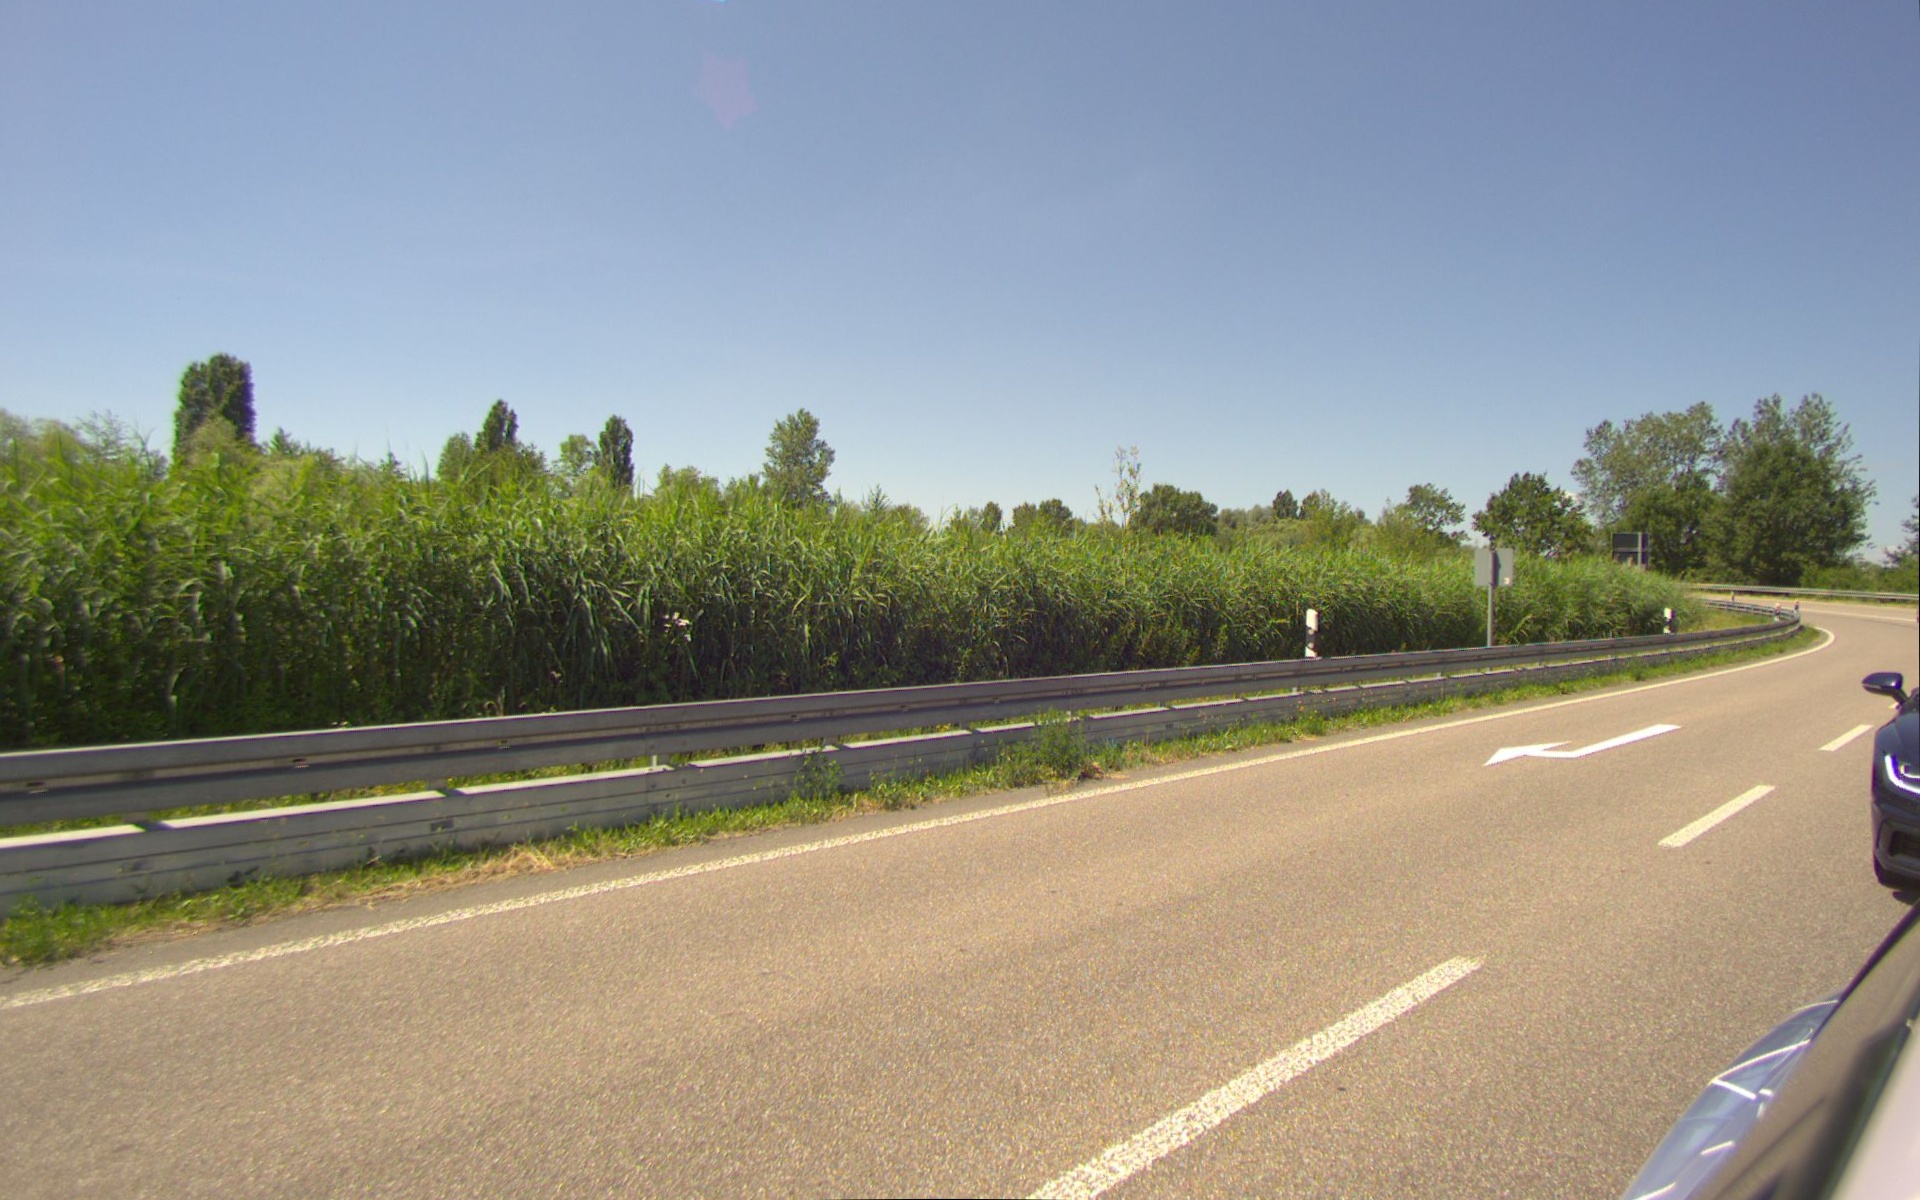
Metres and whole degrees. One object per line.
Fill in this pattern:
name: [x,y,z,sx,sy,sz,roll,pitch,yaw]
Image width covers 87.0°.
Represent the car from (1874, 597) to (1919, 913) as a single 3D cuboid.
car: [6.324,0.698,5.372,3.931,1.427,1.759,-1,1,-41]
